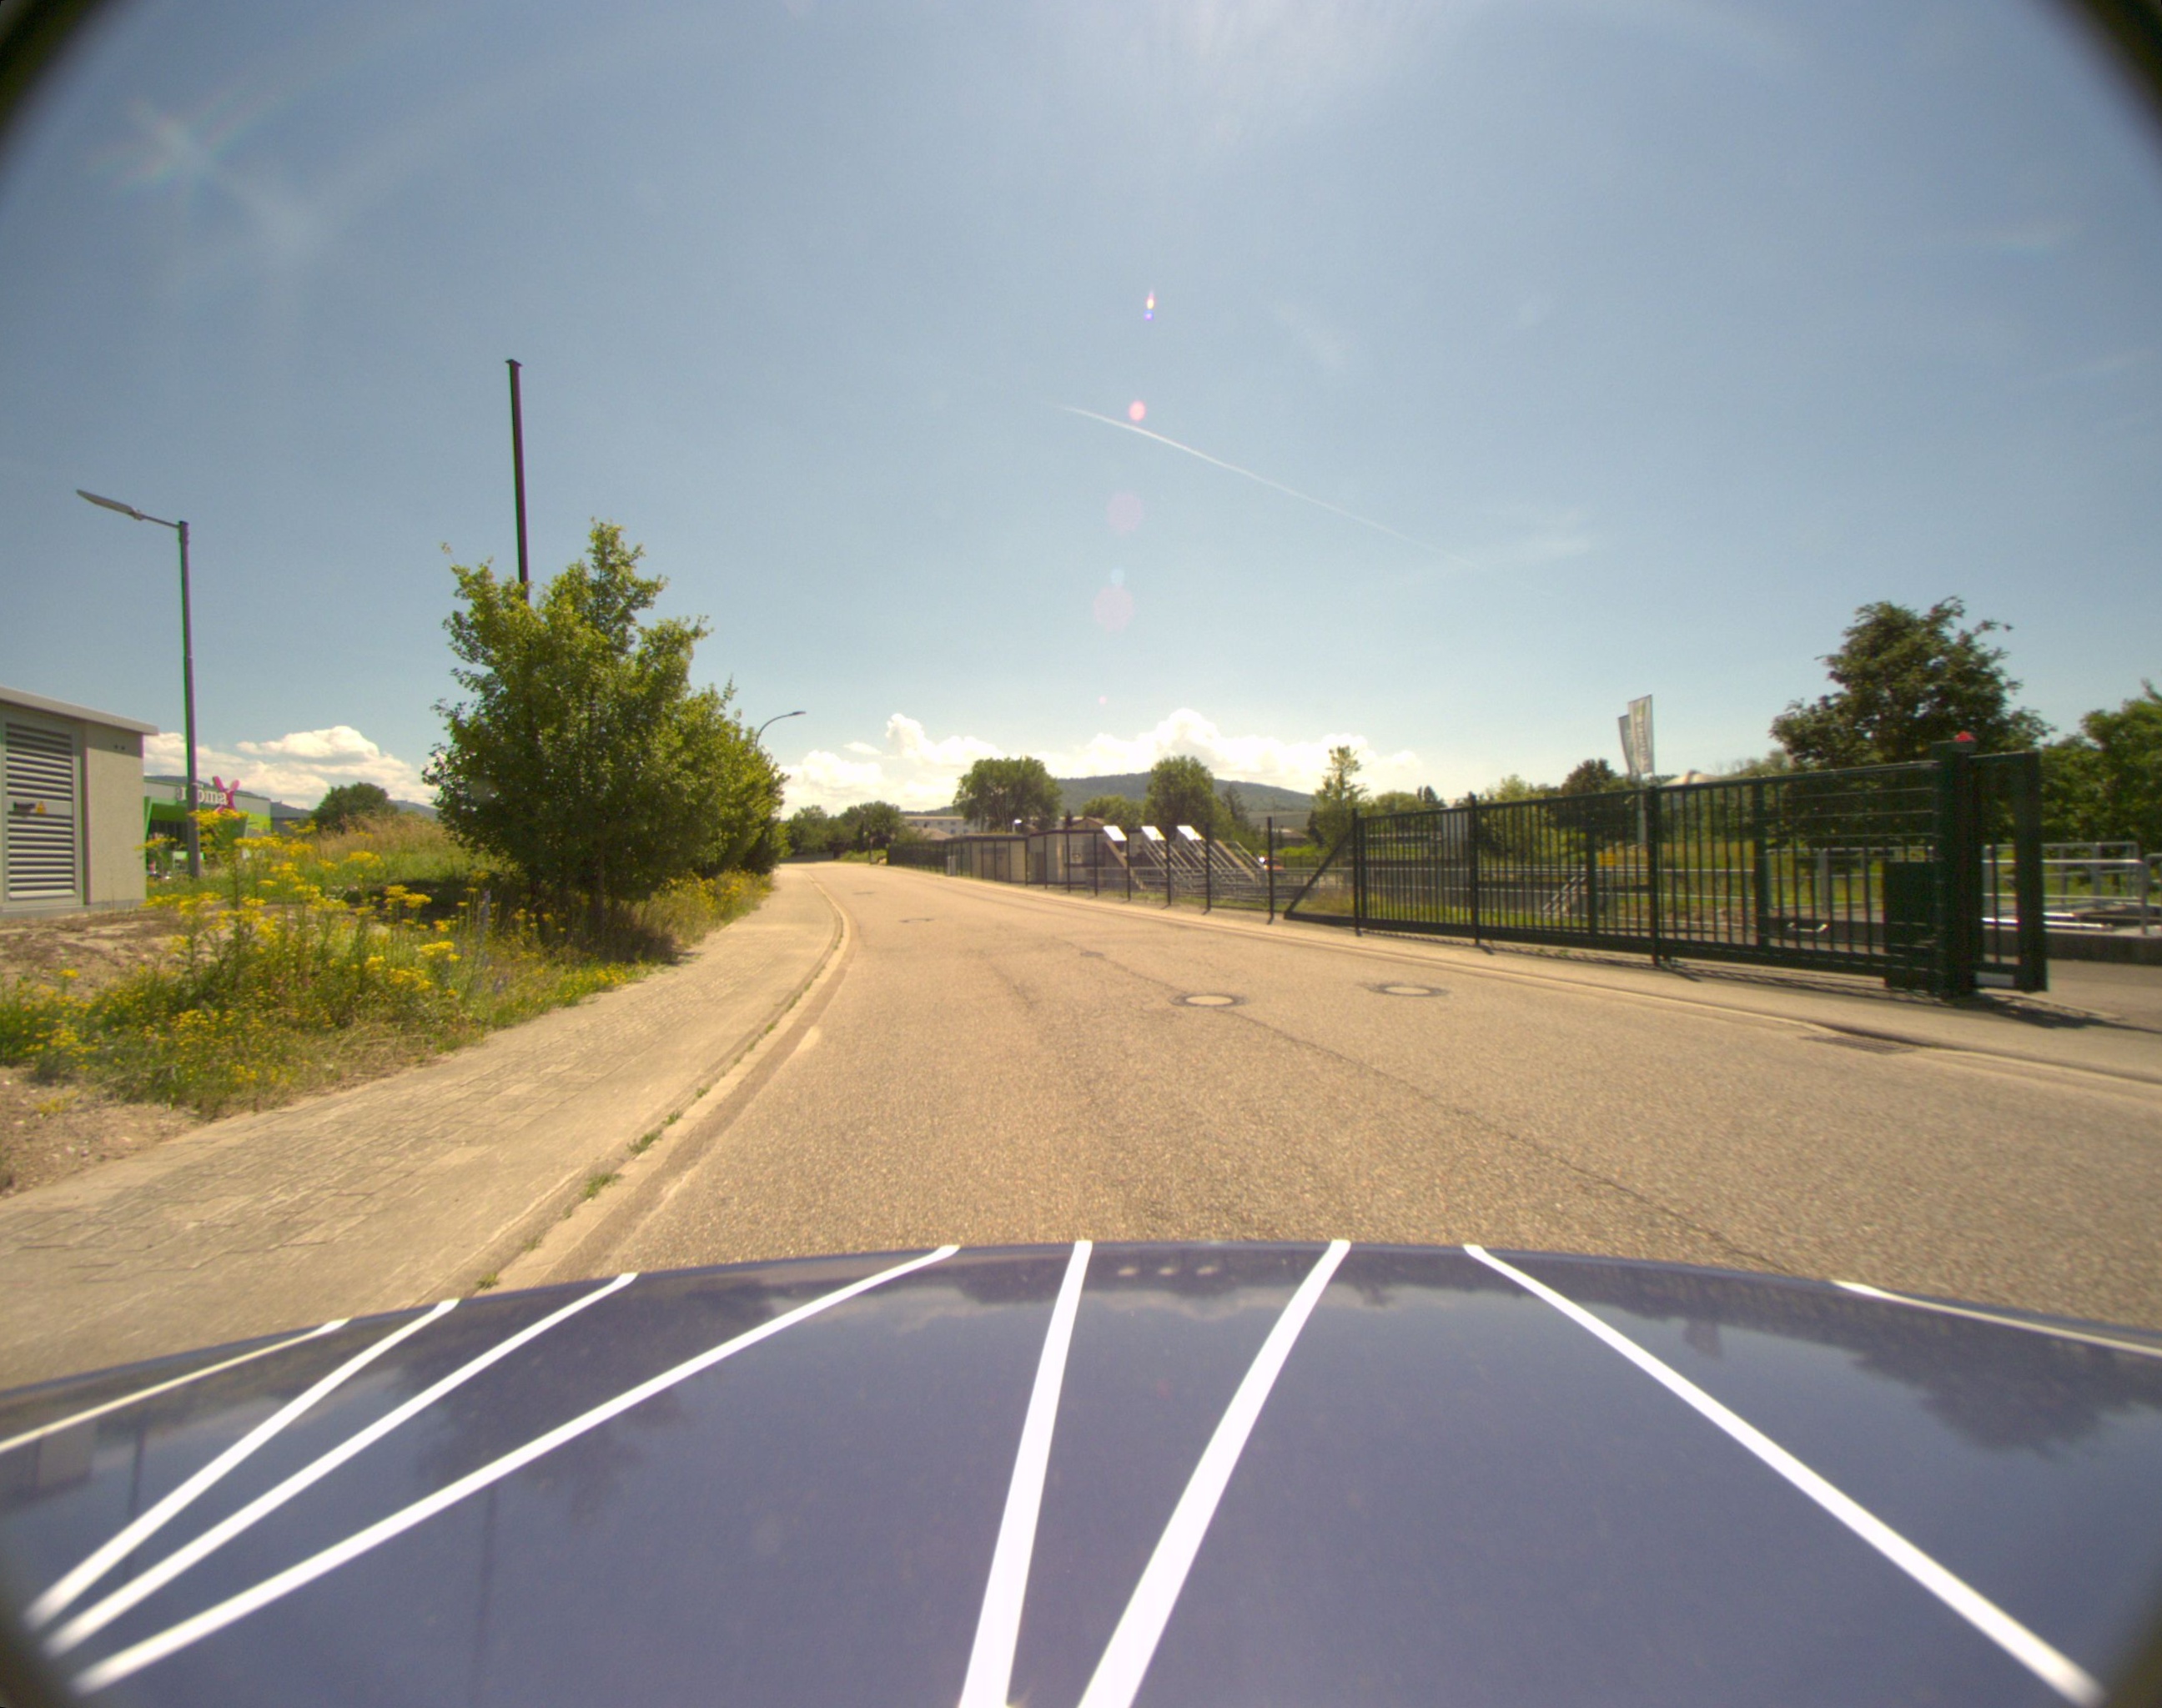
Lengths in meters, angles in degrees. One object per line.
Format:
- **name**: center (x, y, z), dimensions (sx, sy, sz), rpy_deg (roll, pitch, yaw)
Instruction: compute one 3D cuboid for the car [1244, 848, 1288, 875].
- **car**: center (14.522, 0.563, 60.017), dimensions (1.999, 2.002, 4.861), rpy_deg (2, 0, -3)
